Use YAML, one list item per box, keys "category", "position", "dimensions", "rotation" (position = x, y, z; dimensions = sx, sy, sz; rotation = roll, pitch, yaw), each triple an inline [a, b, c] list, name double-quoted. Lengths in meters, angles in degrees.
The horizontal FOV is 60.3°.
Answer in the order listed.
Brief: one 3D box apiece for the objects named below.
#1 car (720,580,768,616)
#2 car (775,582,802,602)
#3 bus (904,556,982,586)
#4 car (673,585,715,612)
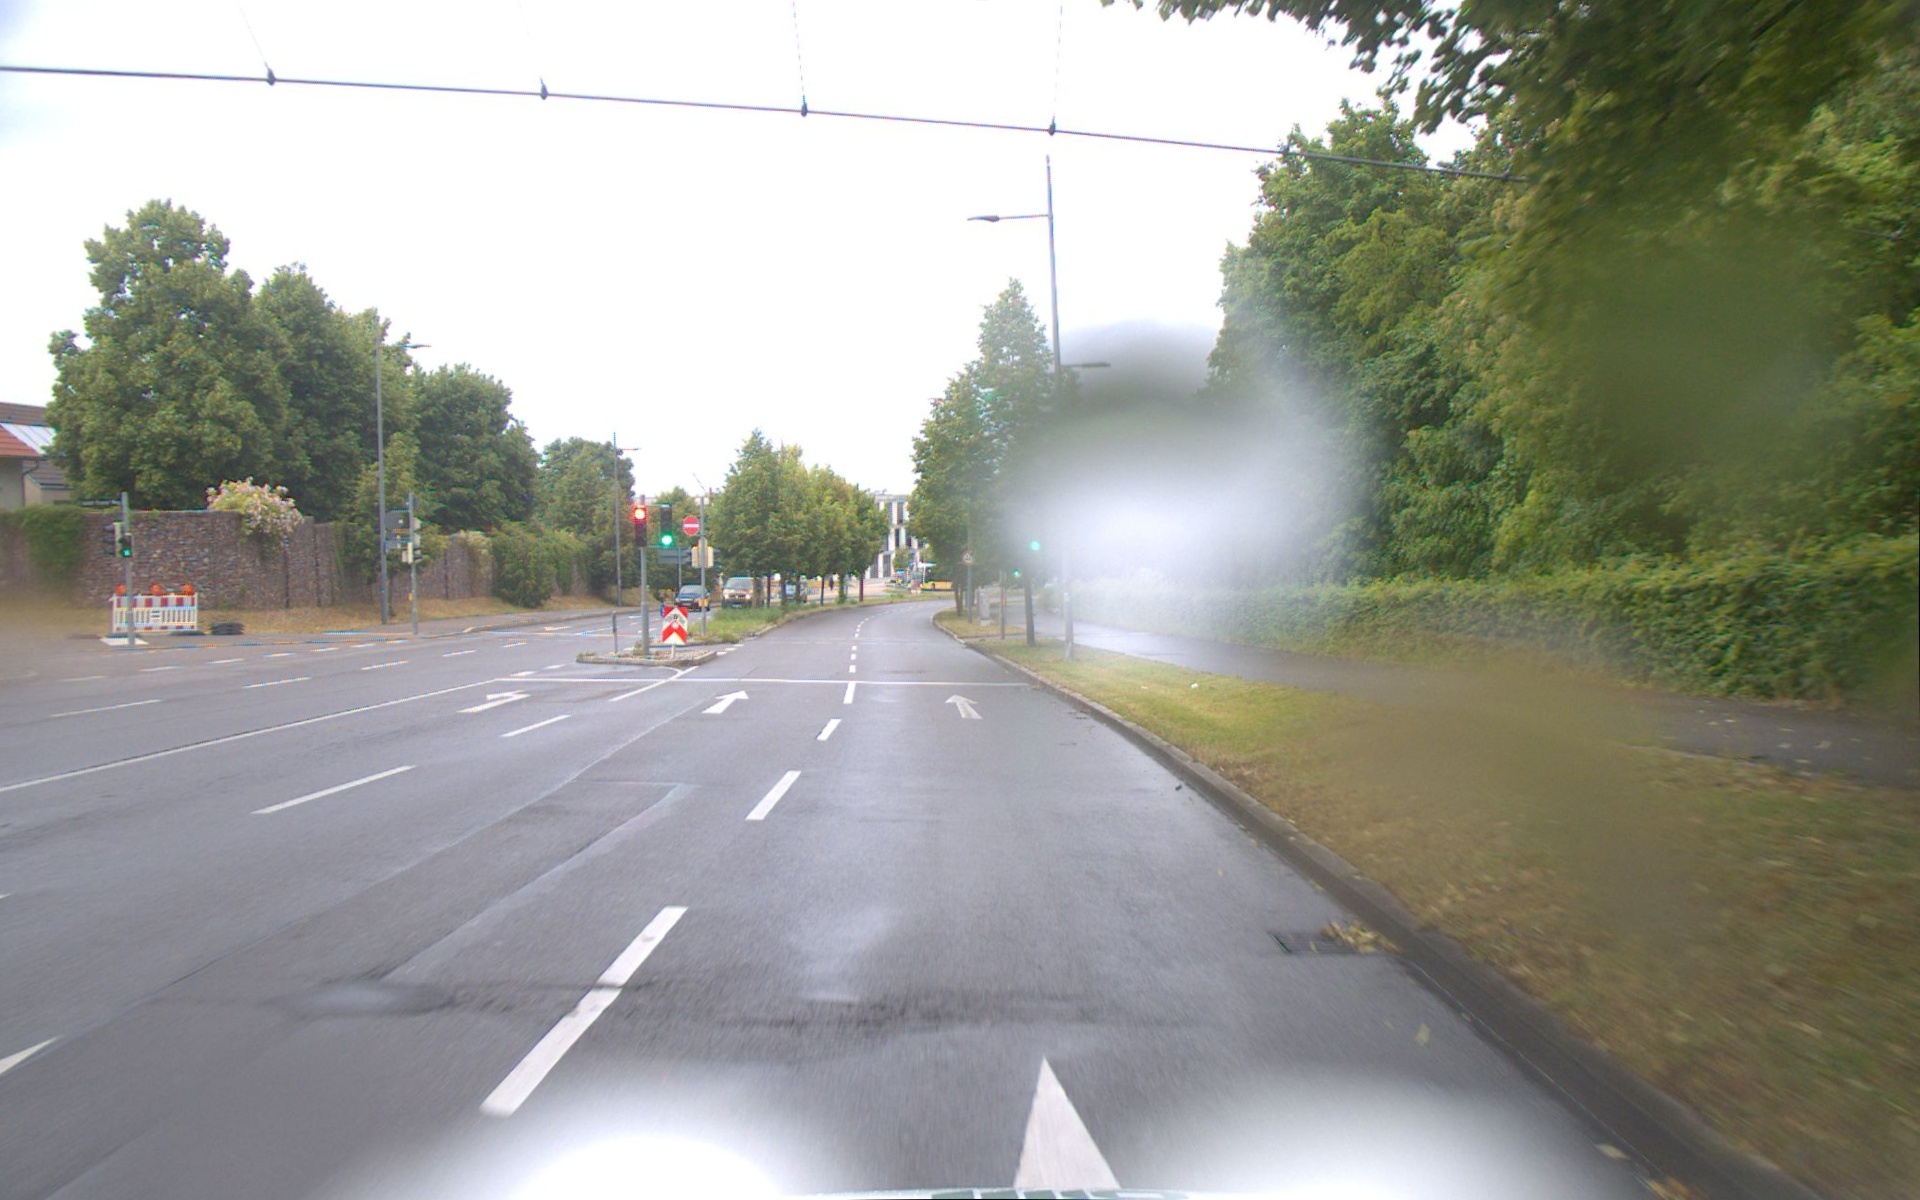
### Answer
- category: "car"
  position: [-12.077, -0.132, 92.800]
  dimensions: [1.972, 1.952, 5.095]
  rotation: [1, 0, 0]
- category: "car"
  position: [-13.571, -0.654, 131.287]
  dimensions: [1.651, 1.566, 2.918]
  rotation: [1, 1, 4]
- category: "bus"
  position: [-1.998, -3.702, 214.903]
  dimensions: [2.729, 3.416, 18.216]
  rotation: [0, 0, 24]
- category: "car"
  position: [-15.333, -0.092, 95.434]
  dimensions: [1.565, 1.515, 4.001]
  rotation: [1, 0, 2]
